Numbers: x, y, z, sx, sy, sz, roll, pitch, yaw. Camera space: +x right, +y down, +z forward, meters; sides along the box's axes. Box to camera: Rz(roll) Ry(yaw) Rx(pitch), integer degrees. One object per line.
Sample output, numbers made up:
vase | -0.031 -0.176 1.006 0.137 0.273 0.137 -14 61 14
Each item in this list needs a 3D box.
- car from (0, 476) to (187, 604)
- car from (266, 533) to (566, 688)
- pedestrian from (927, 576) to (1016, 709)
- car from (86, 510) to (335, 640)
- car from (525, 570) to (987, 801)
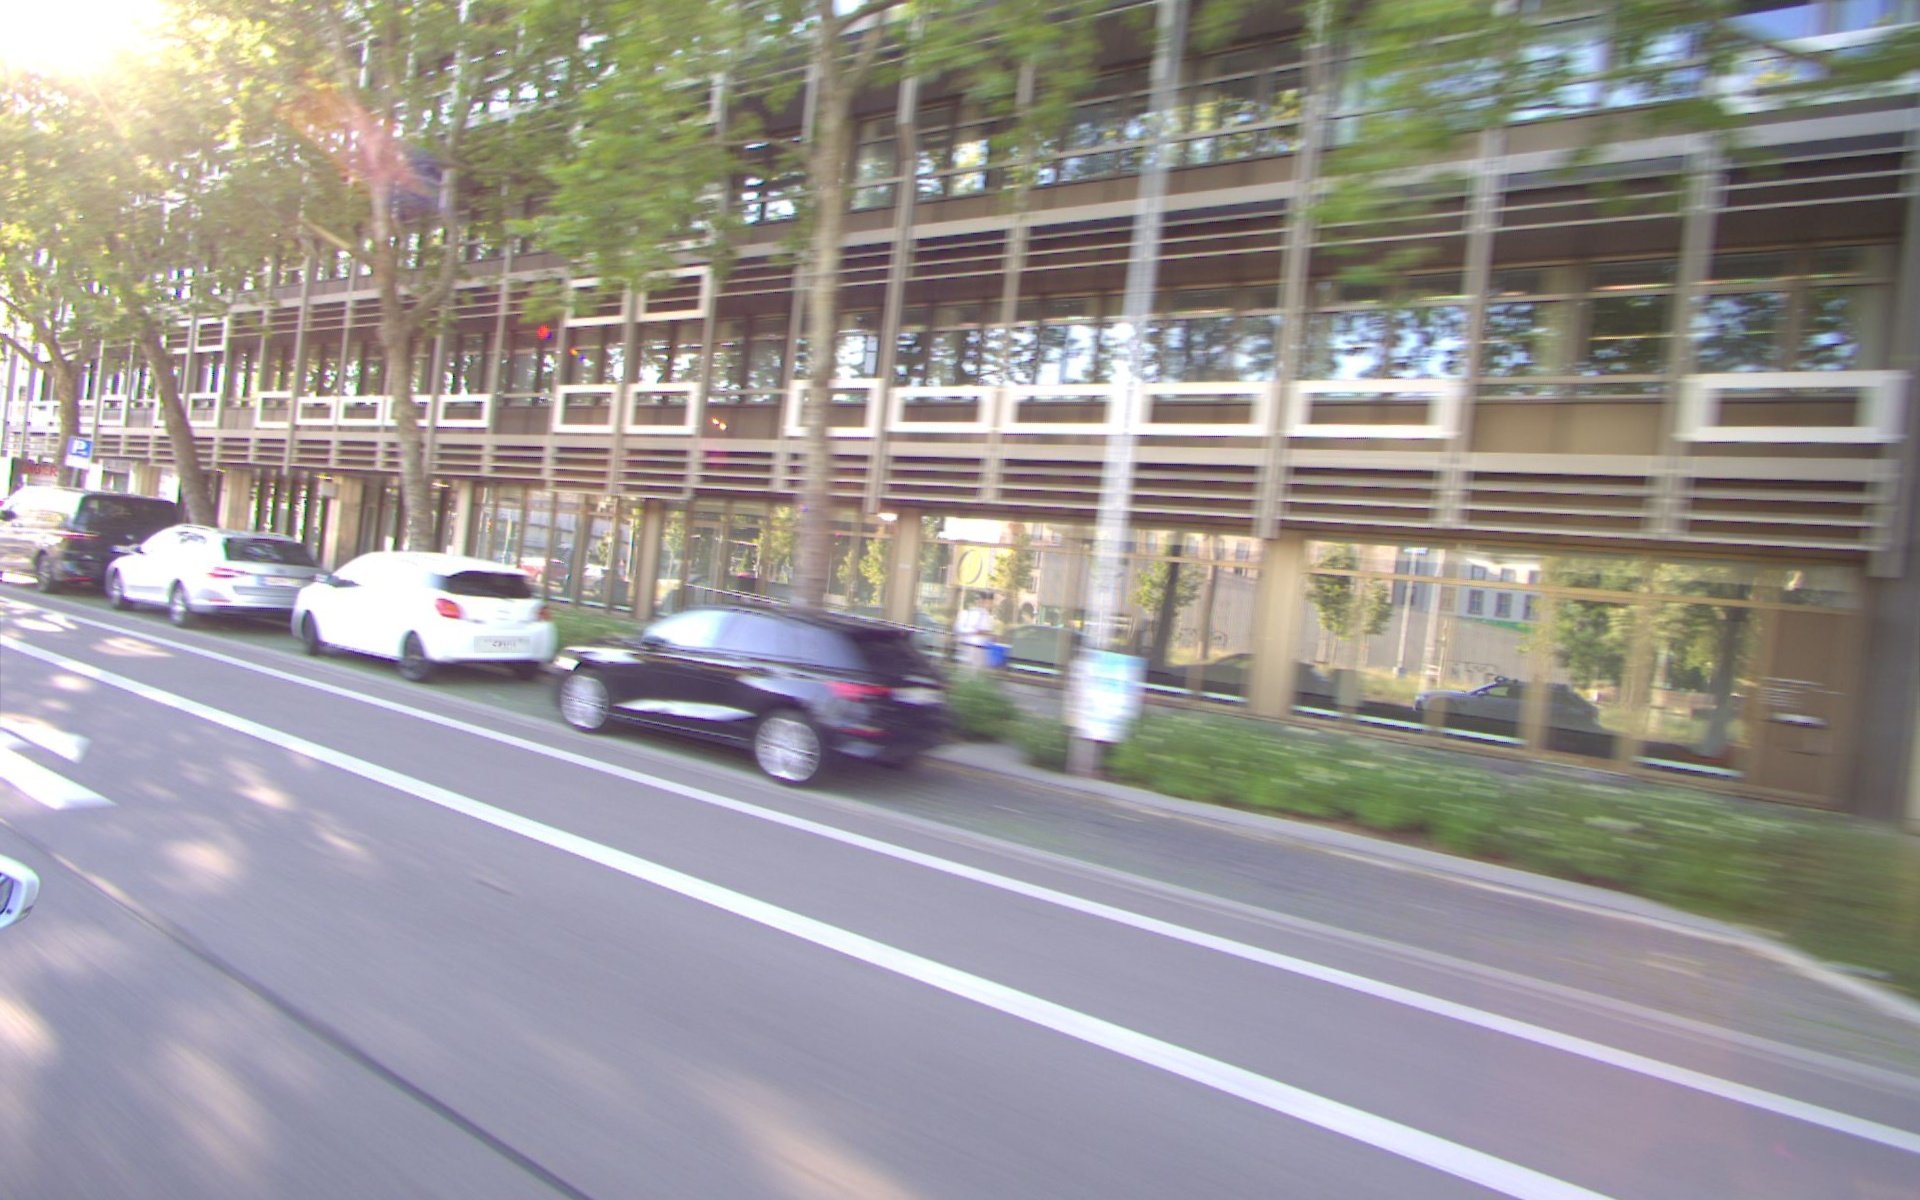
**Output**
car | -17.027 -1.224 19.191 5.233 1.997 1.830 7 2 32
car | -7.061 0.089 12.962 3.810 1.498 1.682 7 2 32
pedestrian | 0.175 0.651 15.227 0.833 1.879 0.833 7 0 31
car | -11.952 -0.441 15.907 4.980 1.534 1.680 7 2 36
car | -2.039 0.661 9.575 4.206 1.437 1.707 7 2 32
